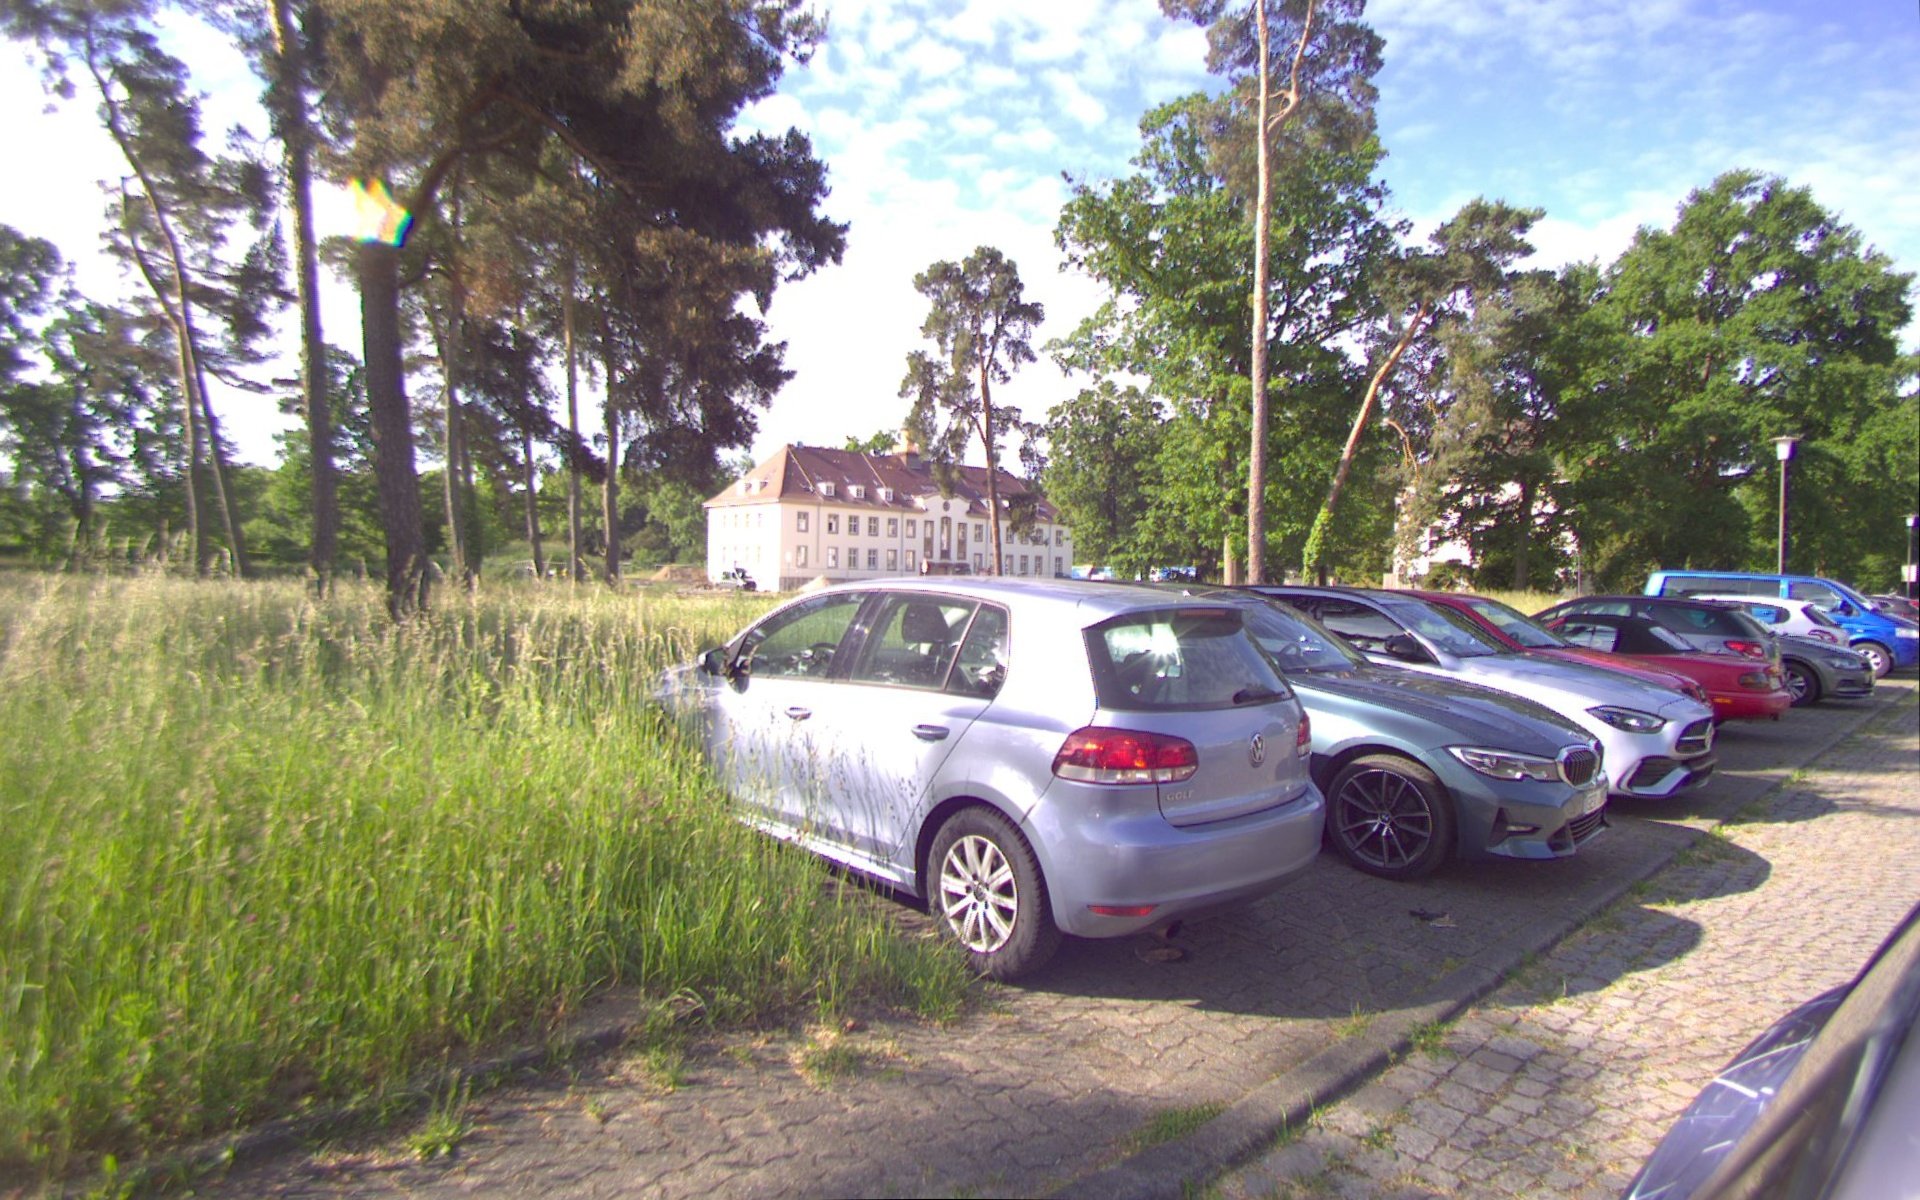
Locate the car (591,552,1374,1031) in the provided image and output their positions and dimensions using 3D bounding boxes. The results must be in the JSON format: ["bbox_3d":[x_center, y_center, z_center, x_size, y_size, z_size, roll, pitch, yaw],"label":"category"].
[{"bbox_3d":[-0.229,0.526,5.297,1.839,1.478,4.022,0,3,-42],"label":"car"}]

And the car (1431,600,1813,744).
[{"bbox_3d":[7.315,0.690,11.410,1.396,1.271,3.353,0,2,-42],"label":"car"}]

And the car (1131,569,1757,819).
[{"bbox_3d":[3.790,0.534,8.594,1.795,1.419,4.419,0,3,-42],"label":"car"}]

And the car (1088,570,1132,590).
[{"bbox_3d":[15.759,-2.091,106.273,4.689,2.039,1.997,0,1,-41],"label":"car"}]

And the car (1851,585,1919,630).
[{"bbox_3d":[38.470,0.296,40.504,1.725,1.763,3.996,0,0,-39],"label":"car"}]

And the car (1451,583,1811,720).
[{"bbox_3d":[8.885,0.568,13.633,1.523,1.509,3.775,0,2,-42],"label":"car"}]

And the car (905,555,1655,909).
[{"bbox_3d":[1.799,0.524,6.841,1.796,1.535,4.498,0,3,-45],"label":"car"}]

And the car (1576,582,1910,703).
[{"bbox_3d":[11.467,0.523,15.066,1.478,1.509,3.630,0,2,-32],"label":"car"}]

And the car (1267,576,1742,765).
[{"bbox_3d":[5.320,0.540,10.290,1.633,1.410,3.914,0,3,-42],"label":"car"}]

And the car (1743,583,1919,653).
[{"bbox_3d":[23.543,0.425,26.899,1.725,1.660,3.997,0,2,-39],"label":"car"}]

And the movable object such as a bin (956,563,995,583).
[{"bbox_3d":[1.895,-3.316,123.455,1.994,2.352,4.907,2,2,44],"label":"movable object such as a bin"}]

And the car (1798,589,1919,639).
[{"bbox_3d":[30.900,0.442,33.950,1.725,1.537,3.997,0,2,-39],"label":"car"}]

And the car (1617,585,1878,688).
[{"bbox_3d":[13.301,0.534,17.229,1.423,1.509,3.264,0,2,-39],"label":"car"}]

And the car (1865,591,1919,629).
[{"bbox_3d":[41.935,0.414,43.708,1.724,1.635,3.997,-1,0,-37],"label":"car"}]

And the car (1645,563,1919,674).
[{"bbox_3d":[17.176,0.277,20.841,1.965,2.038,4.725,0,2,-40],"label":"car"}]
